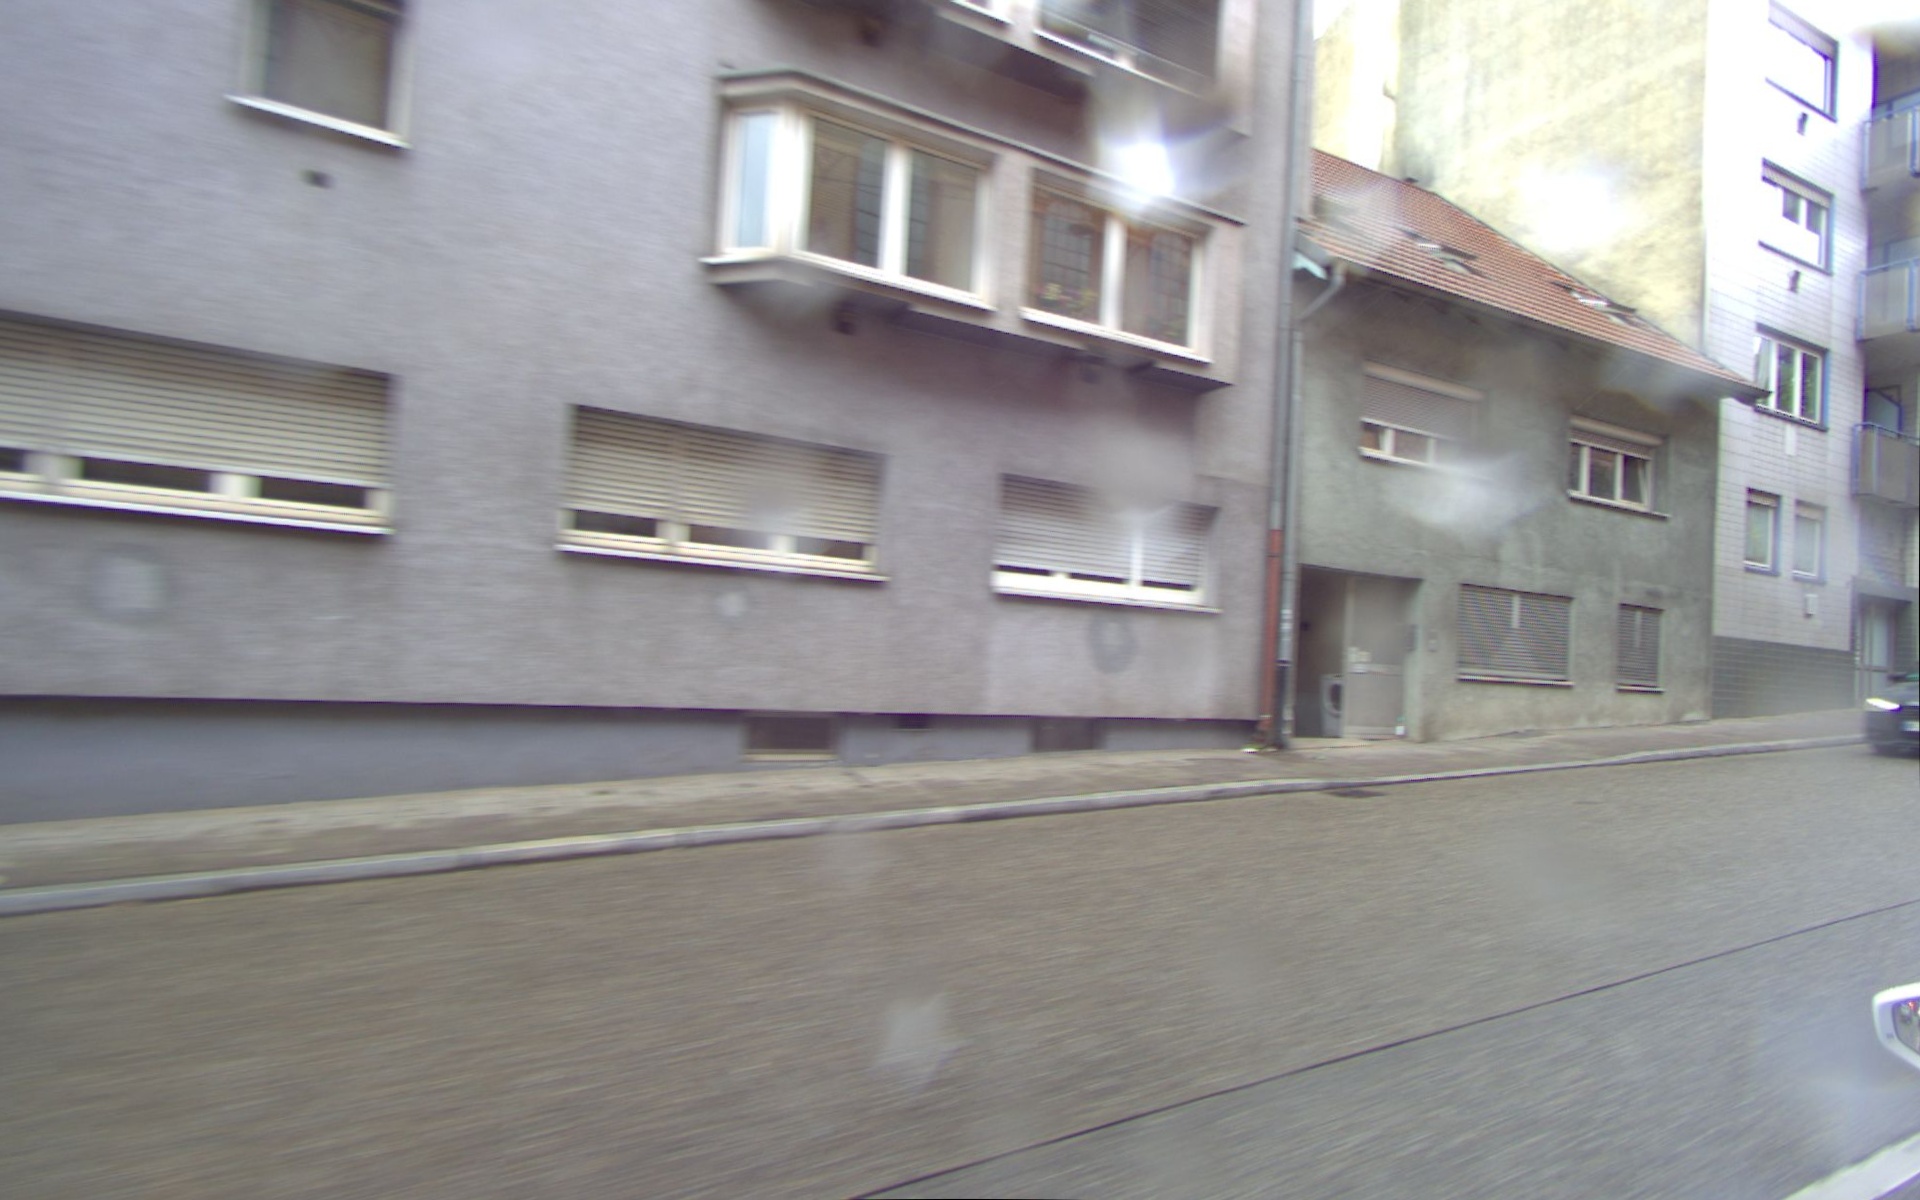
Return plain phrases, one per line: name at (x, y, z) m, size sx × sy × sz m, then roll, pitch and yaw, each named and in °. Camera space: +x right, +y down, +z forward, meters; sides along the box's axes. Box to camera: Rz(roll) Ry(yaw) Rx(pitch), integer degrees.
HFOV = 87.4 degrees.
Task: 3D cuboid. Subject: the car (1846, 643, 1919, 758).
car at (13.380, 1.240, 12.967) m, size 3.802 × 1.396 × 1.639 m, roll 1°, pitch -3°, yaw -28°
